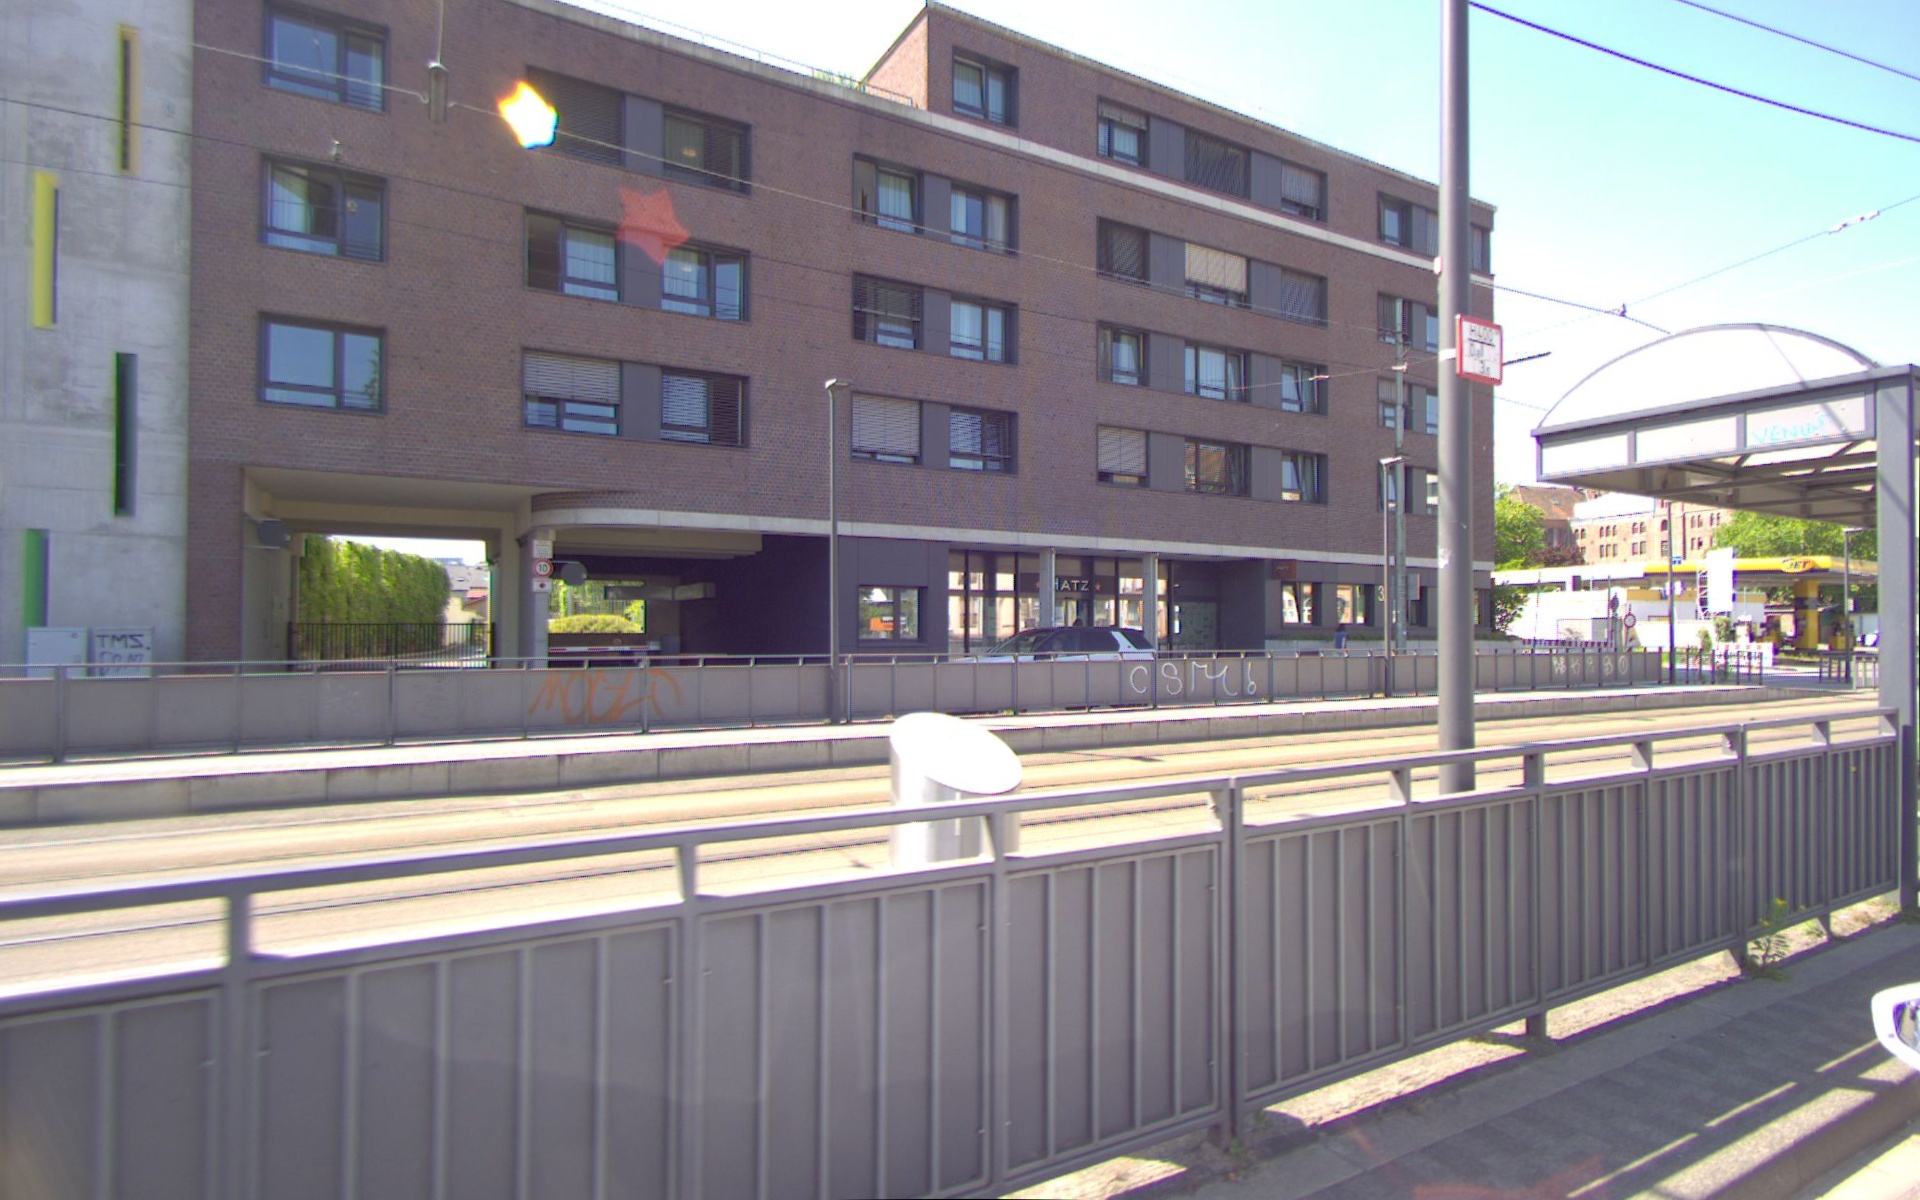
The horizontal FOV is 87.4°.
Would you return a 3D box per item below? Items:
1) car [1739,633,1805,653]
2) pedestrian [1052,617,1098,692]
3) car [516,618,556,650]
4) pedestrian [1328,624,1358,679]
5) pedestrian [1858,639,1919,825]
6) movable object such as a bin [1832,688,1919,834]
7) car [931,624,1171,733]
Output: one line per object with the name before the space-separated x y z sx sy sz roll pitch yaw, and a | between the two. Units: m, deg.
car | 69.272 3.642 85.784 1.903 1.547 4.163 1 -1 -12
pedestrian | 2.894 1.357 25.267 0.829 1.843 0.840 1 -1 -30
car | -25.788 2.076 61.035 1.904 1.846 3.972 1 -2 -28
pedestrian | 11.942 1.588 31.311 0.692 1.686 0.578 1 -2 -32
pedestrian | 6.867 0.910 7.067 0.701 1.271 0.626 1 -2 -31
movable object such as a bin | 6.364 1.069 6.754 0.483 0.912 0.626 1 -2 -31
car | 1.705 1.357 18.547 4.139 1.752 1.792 1 0 -30
